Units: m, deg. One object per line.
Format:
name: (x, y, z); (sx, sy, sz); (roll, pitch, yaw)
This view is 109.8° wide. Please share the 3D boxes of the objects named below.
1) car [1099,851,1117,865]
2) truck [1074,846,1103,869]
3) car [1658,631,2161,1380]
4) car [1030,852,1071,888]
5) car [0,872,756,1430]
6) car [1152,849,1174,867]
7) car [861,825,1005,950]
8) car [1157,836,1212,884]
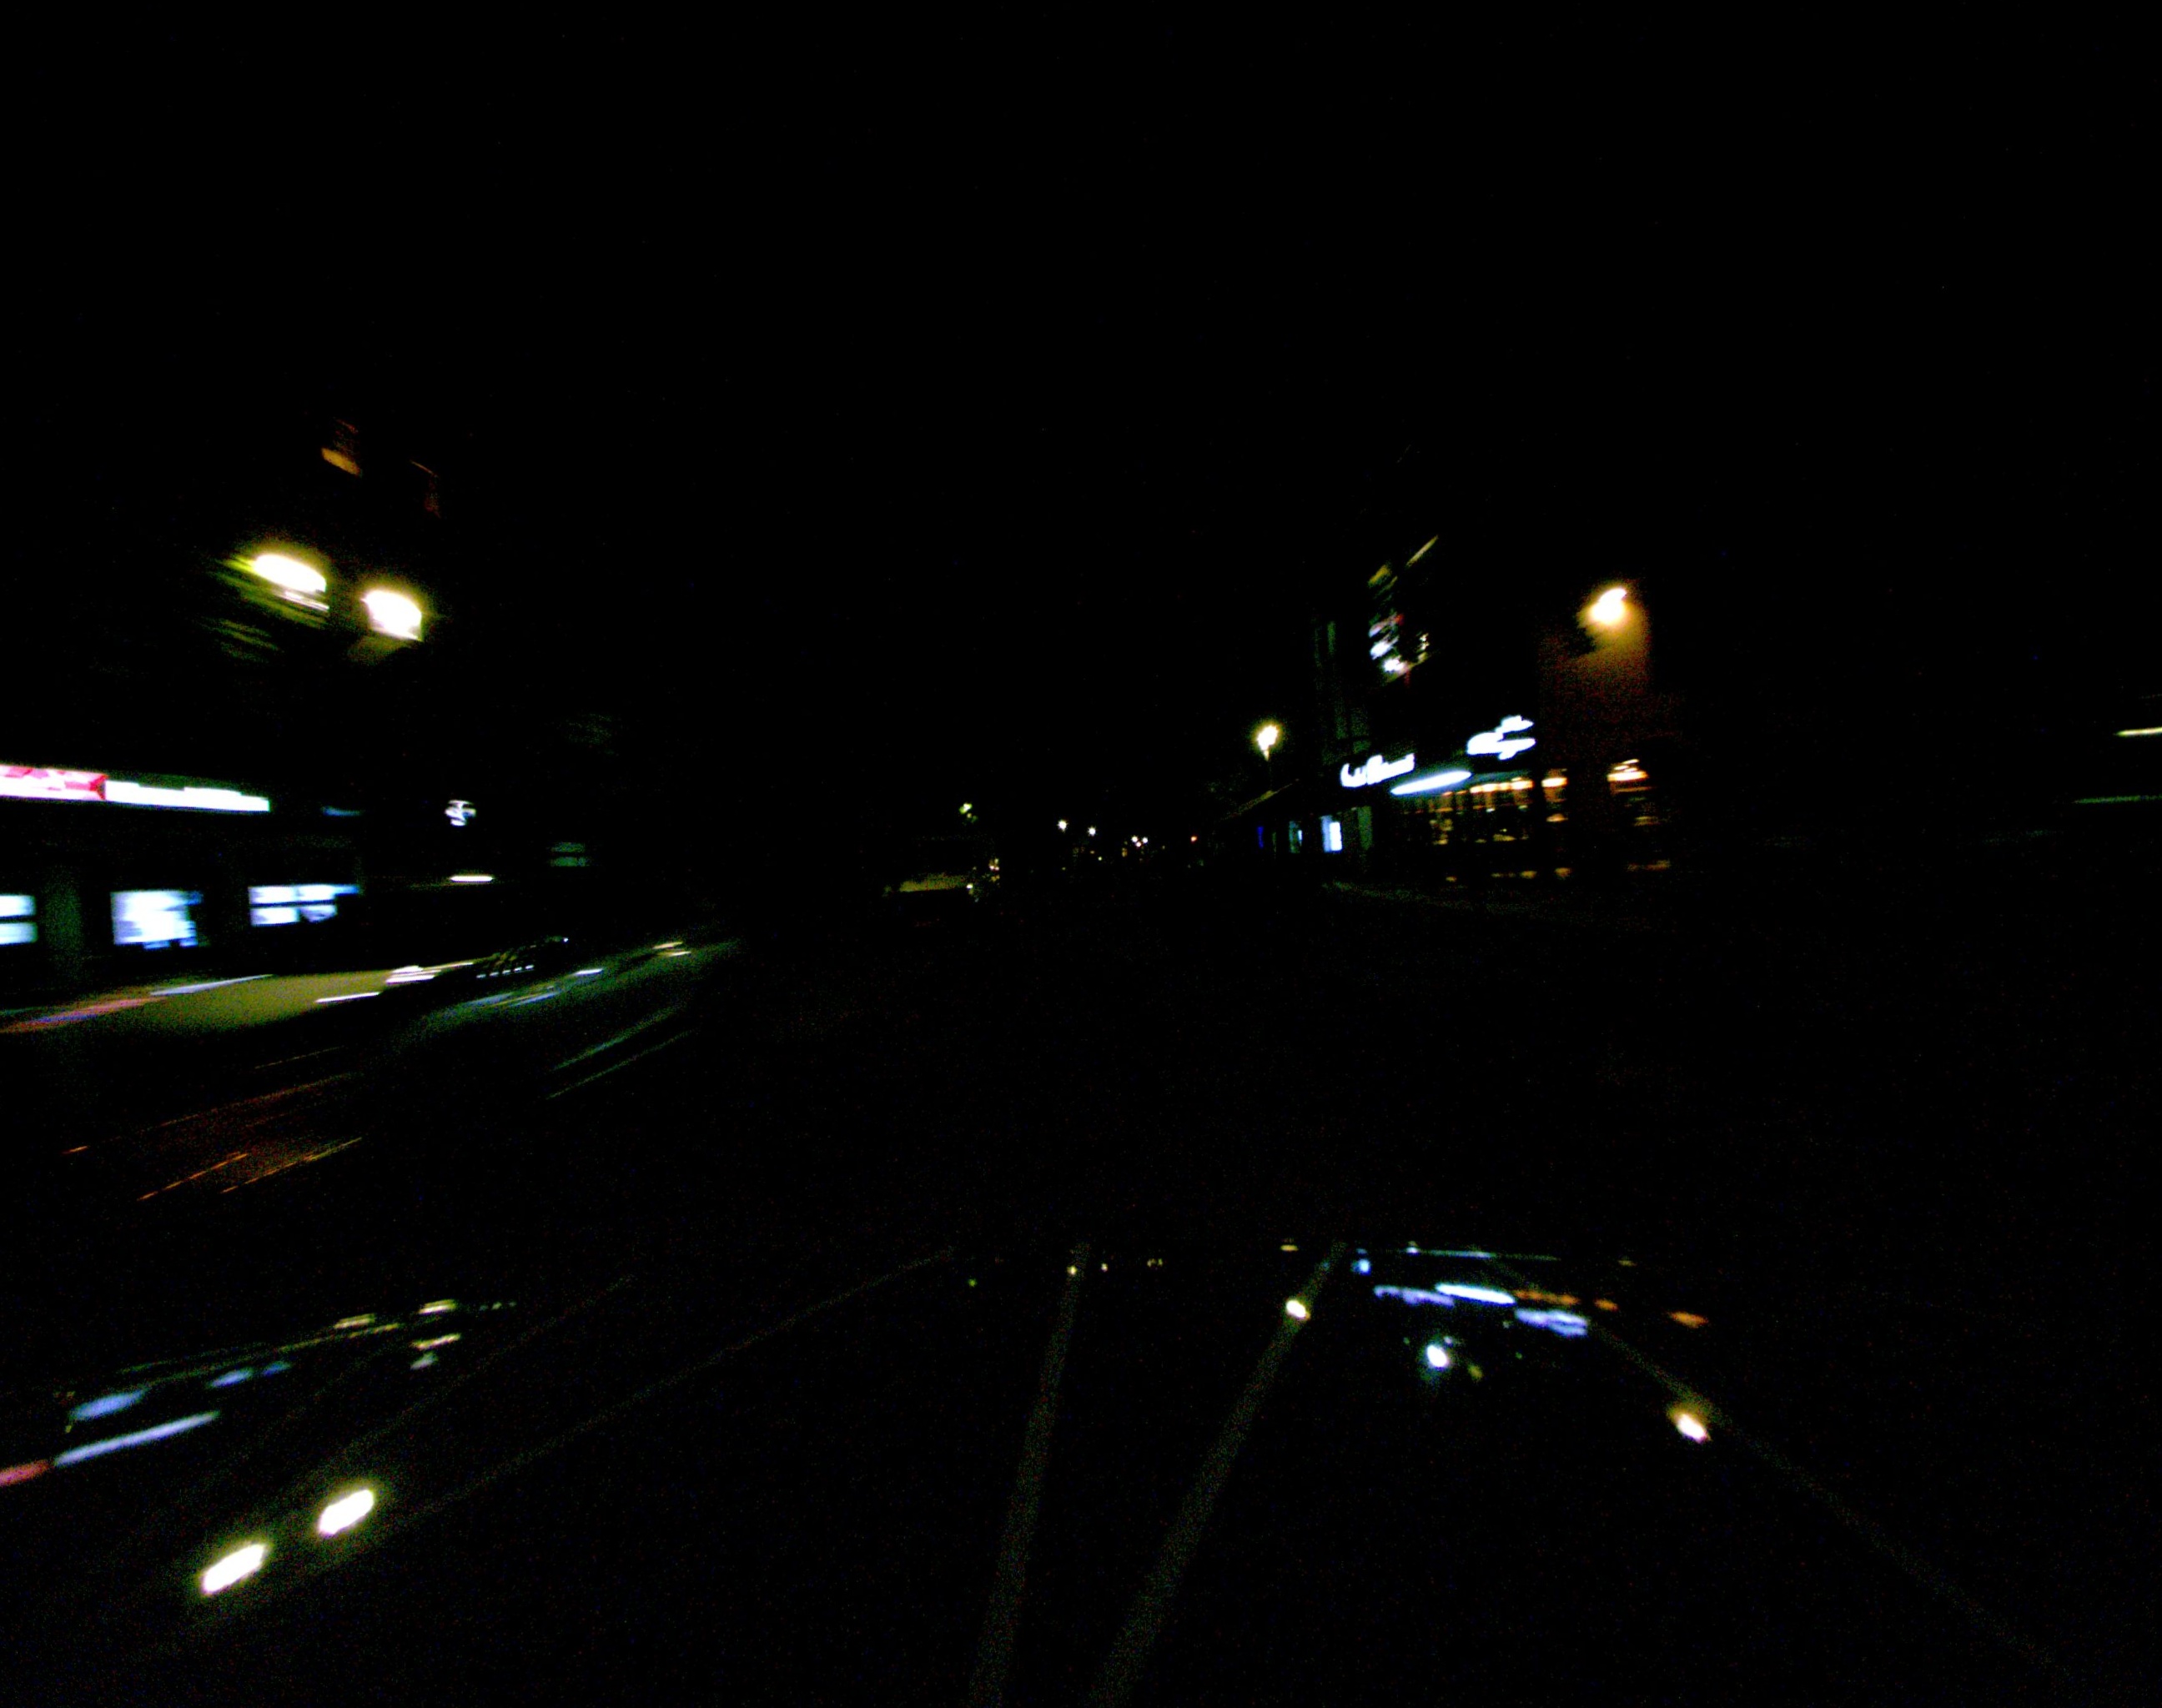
car: (3.278, 0.460, 92.614); (1.736, 1.492, 4.002); (-4, 0, 8)
truck: (0.863, 0.320, 78.371); (2.109, 2.230, 6.290); (-4, 0, 7)
car: (3.894, 0.345, 1.140); (1.857, 2.075, 5.089); (-6, 0, -2)
car: (-1.693, 0.856, 43.646); (1.912, 1.792, 4.937); (-4, 0, 2)
car: (-3.802, 1.035, 4.567); (1.688, 1.649, 4.297); (-4, 0, 1)
car: (7.939, 0.391, 73.888); (1.795, 1.496, 4.001); (-5, 0, 3)
car: (-3.164, 0.665, 17.508); (2.139, 2.313, 5.151); (-4, 0, 0)
car: (4.842, 0.257, 36.148); (1.929, 1.953, 5.077); (-6, 0, 2)
